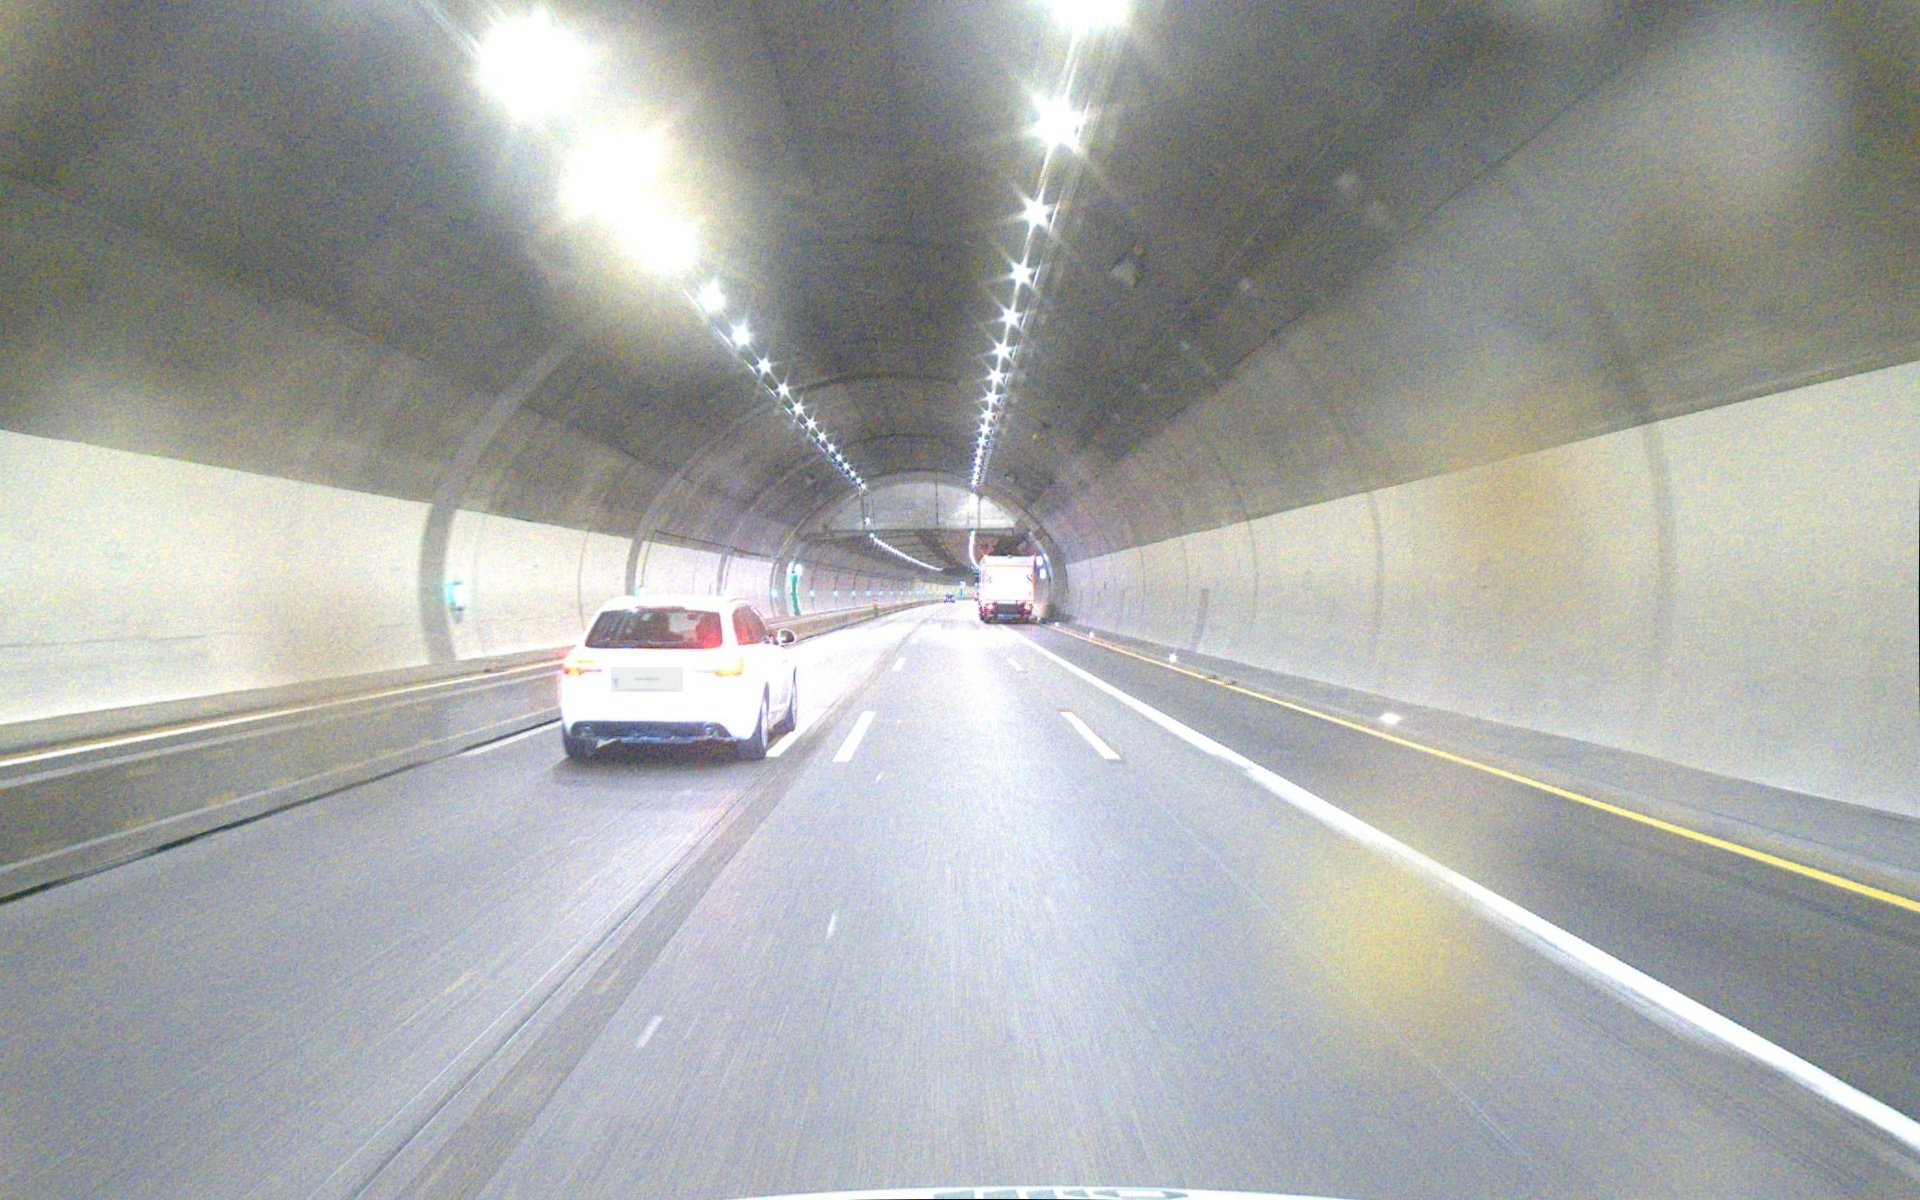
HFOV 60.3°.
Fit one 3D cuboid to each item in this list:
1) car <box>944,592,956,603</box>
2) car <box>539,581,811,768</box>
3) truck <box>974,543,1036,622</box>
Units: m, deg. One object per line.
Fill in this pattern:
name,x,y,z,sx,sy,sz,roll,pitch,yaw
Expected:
car,-1.424,-0.330,239.039,1.723,1.486,4.118,-1,1,0
car,-2.565,0.620,16.086,1.865,1.511,4.942,1,0,-1
truck,2.318,-0.838,88.784,3.029,3.986,10.366,-1,-1,0
